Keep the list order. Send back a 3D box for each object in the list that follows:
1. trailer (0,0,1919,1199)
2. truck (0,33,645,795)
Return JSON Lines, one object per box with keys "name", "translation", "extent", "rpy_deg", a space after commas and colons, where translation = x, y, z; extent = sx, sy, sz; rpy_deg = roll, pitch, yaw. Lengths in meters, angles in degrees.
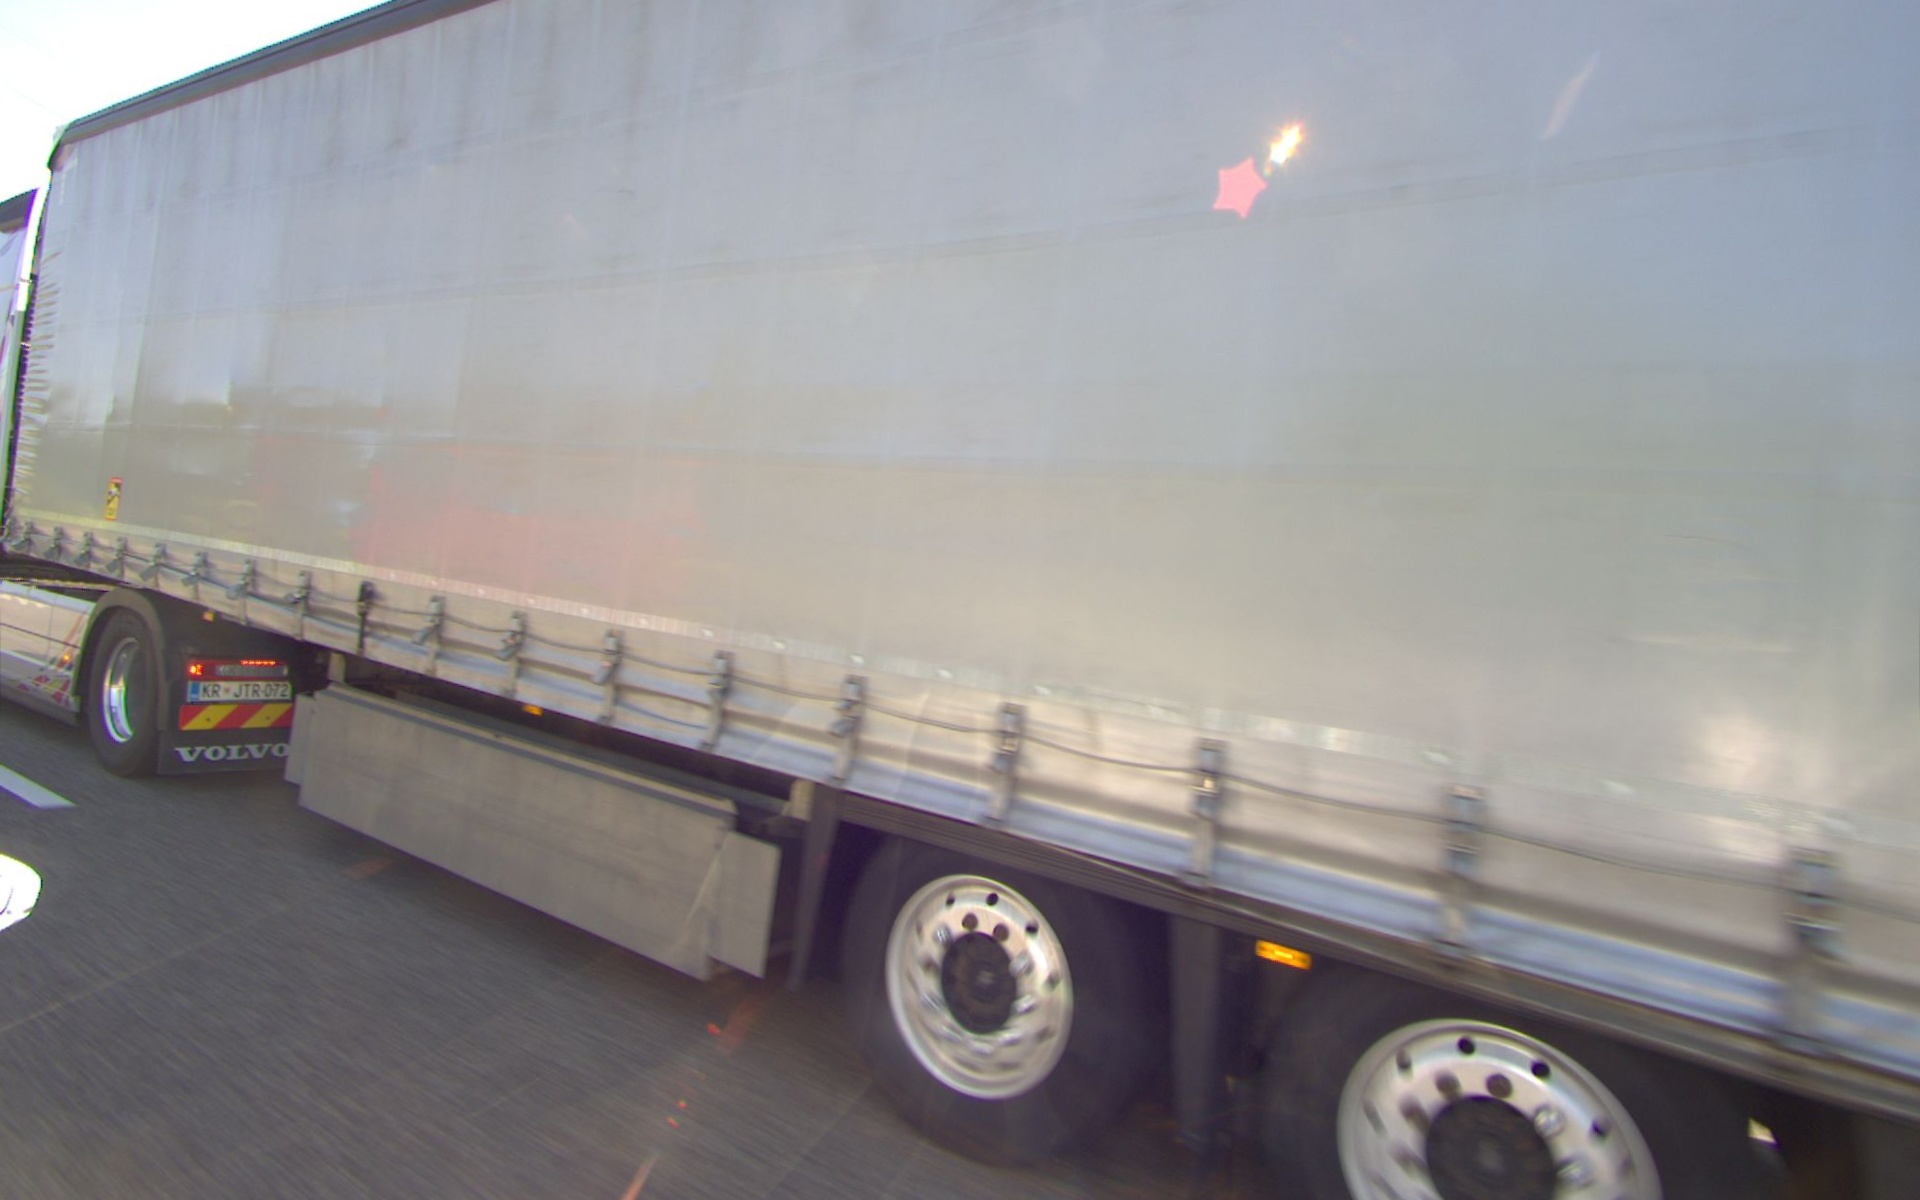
{"name": "trailer", "translation": [-0.351, -0.509, 4.572], "extent": [13.428, 4.022, 2.745], "rpy_deg": [7, -1, 32]}
{"name": "truck", "translation": [-6.027, -1.155, 8.105], "extent": [6.393, 4.022, 2.728], "rpy_deg": [7, -1, 32]}
